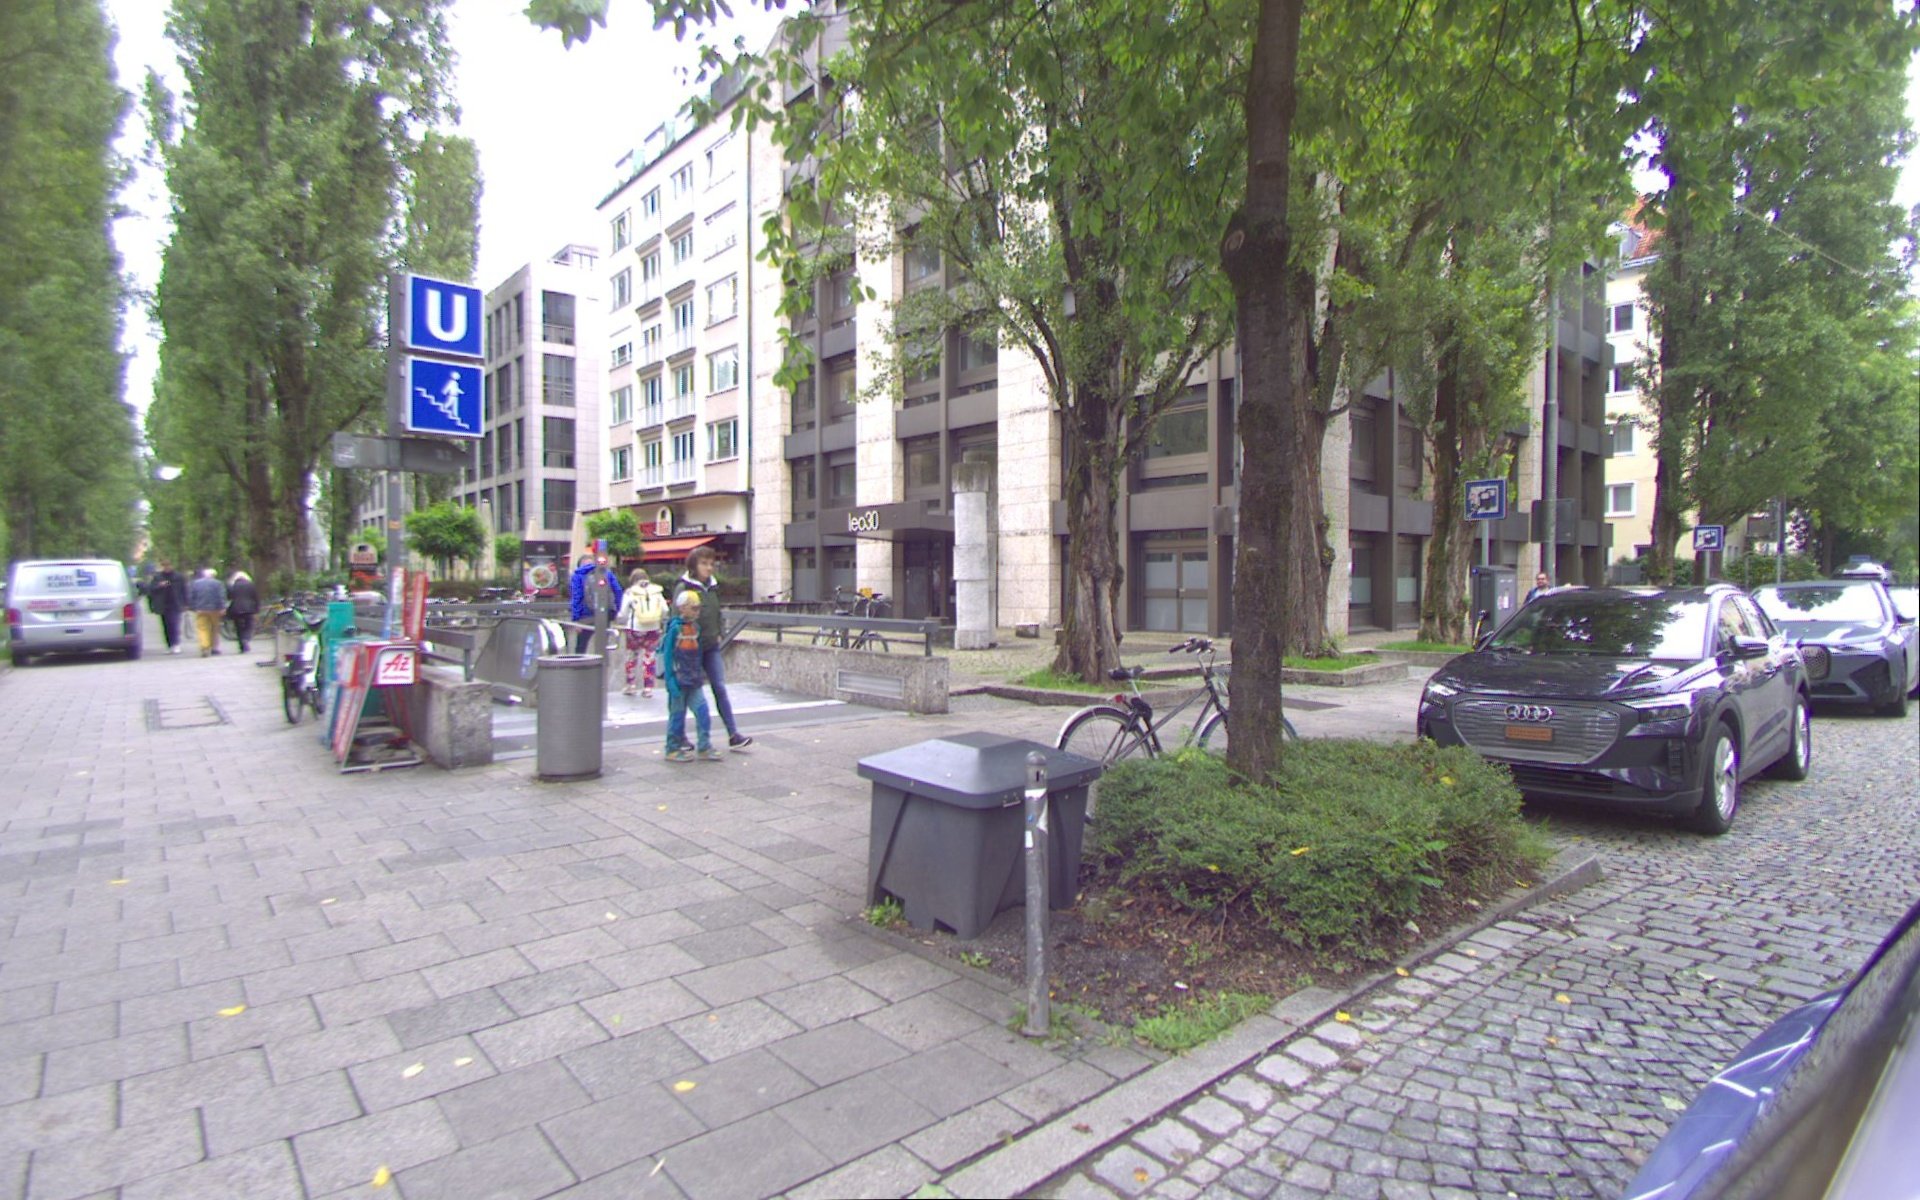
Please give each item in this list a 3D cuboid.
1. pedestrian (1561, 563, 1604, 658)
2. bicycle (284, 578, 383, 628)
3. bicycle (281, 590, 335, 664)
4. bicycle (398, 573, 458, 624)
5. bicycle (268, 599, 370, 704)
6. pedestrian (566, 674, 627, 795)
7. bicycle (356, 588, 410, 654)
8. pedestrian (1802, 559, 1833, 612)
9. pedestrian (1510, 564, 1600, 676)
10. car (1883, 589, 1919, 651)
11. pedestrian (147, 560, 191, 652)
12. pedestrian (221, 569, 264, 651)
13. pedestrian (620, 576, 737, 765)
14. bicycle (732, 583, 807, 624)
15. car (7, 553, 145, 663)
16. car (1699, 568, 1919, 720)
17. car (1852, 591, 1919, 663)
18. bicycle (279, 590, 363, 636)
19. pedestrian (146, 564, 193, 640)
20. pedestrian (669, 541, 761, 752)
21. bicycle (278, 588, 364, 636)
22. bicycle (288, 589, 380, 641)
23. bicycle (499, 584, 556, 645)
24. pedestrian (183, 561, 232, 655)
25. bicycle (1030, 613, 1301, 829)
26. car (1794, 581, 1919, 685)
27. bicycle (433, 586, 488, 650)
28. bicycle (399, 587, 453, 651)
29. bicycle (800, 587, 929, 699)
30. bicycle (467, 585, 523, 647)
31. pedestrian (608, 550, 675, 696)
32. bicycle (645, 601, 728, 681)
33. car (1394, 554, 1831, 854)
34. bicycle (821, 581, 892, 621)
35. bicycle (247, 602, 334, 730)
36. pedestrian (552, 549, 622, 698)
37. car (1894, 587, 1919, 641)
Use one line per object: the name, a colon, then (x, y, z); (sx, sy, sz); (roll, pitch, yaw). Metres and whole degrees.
pedestrian: (11.095, 0.176, 18.024); (0.558, 1.648, 0.490); (-1, 1, -38)
bicycle: (-15.368, 0.056, 24.857); (1.995, 1.174, 0.587); (-1, 1, -39)
bicycle: (-11.135, 0.433, 17.258); (0.577, 1.174, 1.982); (-1, 1, -39)
bicycle: (-13.846, -0.028, 26.309); (1.857, 1.175, 0.580); (-6, -3, 36)
bicycle: (-7.916, 0.592, 12.464); (1.862, 1.174, 0.579); (1, 1, 42)
pedestrian: (-5.707, 2.078, 15.886); (0.700, 1.746, 0.669); (-1, 1, -41)
bicycle: (-10.817, 0.361, 18.954); (0.577, 1.174, 1.867); (-1, 1, -39)
pedestrian: (25.677, -0.434, 30.307); (0.697, 1.556, 0.644); (-1, 1, -44)
pedestrian: (9.528, 0.298, 16.220); (0.893, 1.735, 0.871); (0, 1, -21)
car: (24.029, 0.452, 24.890); (3.501, 1.449, 1.602); (-1, -1, -42)
pedestrian: (-16.406, 0.109, 20.995); (0.687, 1.863, 0.706); (-1, 1, -37)
pedestrian: (-14.551, 0.192, 20.542); (0.685, 1.626, 0.833); (-1, 1, -35)
pedestrian: (-2.302, 0.529, 8.228); (0.801, 1.437, 0.772); (0, 1, -25)
bicycle: (-5.693, 0.084, 30.337); (2.207, 1.170, 0.647); (-1, 1, -41)
car: (-17.618, 0.049, 20.374); (1.782, 1.919, 5.200); (-1, 2, -38)
car: (11.826, 0.459, 13.770); (4.594, 1.722, 2.015); (-1, 1, -43)
car: (20.779, 0.523, 21.849); (4.133, 1.408, 1.721); (-2, -1, -41)
bicycle: (-16.888, 0.326, 26.766); (1.835, 1.174, 0.587); (-1, 1, -39)
pedestrian: (-20.372, 0.039, 26.100); (0.902, 1.890, 1.014); (-1, 1, -35)
pedestrian: (-2.117, 0.373, 8.719); (0.650, 1.722, 0.692); (0, 1, -25)
bicycle: (-16.548, 0.290, 26.245); (1.835, 1.174, 0.587); (-1, 1, -39)
bicycle: (-15.007, 0.336, 24.290); (1.835, 1.174, 0.587); (-1, 1, -39)
bicycle: (-8.813, 0.273, 20.600); (0.577, 1.174, 1.867); (-1, 1, -39)
pedestrian: (-14.918, 0.142, 20.074); (0.736, 1.825, 0.843); (-1, 1, -35)
bicycle: (1.316, 0.679, 6.298); (1.840, 1.151, 0.476); (-1, 1, -32)
car: (16.070, 0.485, 17.498); (4.269, 1.602, 1.996); (-1, 1, -43)
bicycle: (-9.776, 0.326, 19.787); (0.577, 1.174, 1.867); (-1, 1, -39)
bicycle: (-10.253, 0.336, 19.402); (0.577, 1.174, 1.867); (-1, 1, -39)
bicycle: (-1.226, 0.485, 12.664); (0.709, 1.292, 1.867); (-1, 1, -39)
bicycle: (-9.293, 0.293, 20.200); (0.577, 1.174, 1.867); (-1, 1, -39)
pedestrian: (-3.866, 0.259, 12.270); (0.598, 1.701, 0.846); (0, 1, -31)
bicycle: (-4.402, 0.623, 16.222); (0.577, 1.174, 1.867); (-1, 1, -39)
car: (5.272, 0.562, 7.945); (4.131, 1.722, 1.923); (-1, 1, -43)
bicycle: (-3.152, 0.019, 31.097); (2.207, 1.170, 0.647); (-1, 1, -41)
bicycle: (-6.967, 0.631, 10.599); (0.576, 1.174, 1.872); (-1, 1, -28)
pedestrian: (-4.505, 0.262, 12.199); (0.651, 1.717, 0.807); (0, 1, -31)
car: (27.598, 0.359, 28.177); (3.807, 1.405, 1.996); (-1, 0, -42)
